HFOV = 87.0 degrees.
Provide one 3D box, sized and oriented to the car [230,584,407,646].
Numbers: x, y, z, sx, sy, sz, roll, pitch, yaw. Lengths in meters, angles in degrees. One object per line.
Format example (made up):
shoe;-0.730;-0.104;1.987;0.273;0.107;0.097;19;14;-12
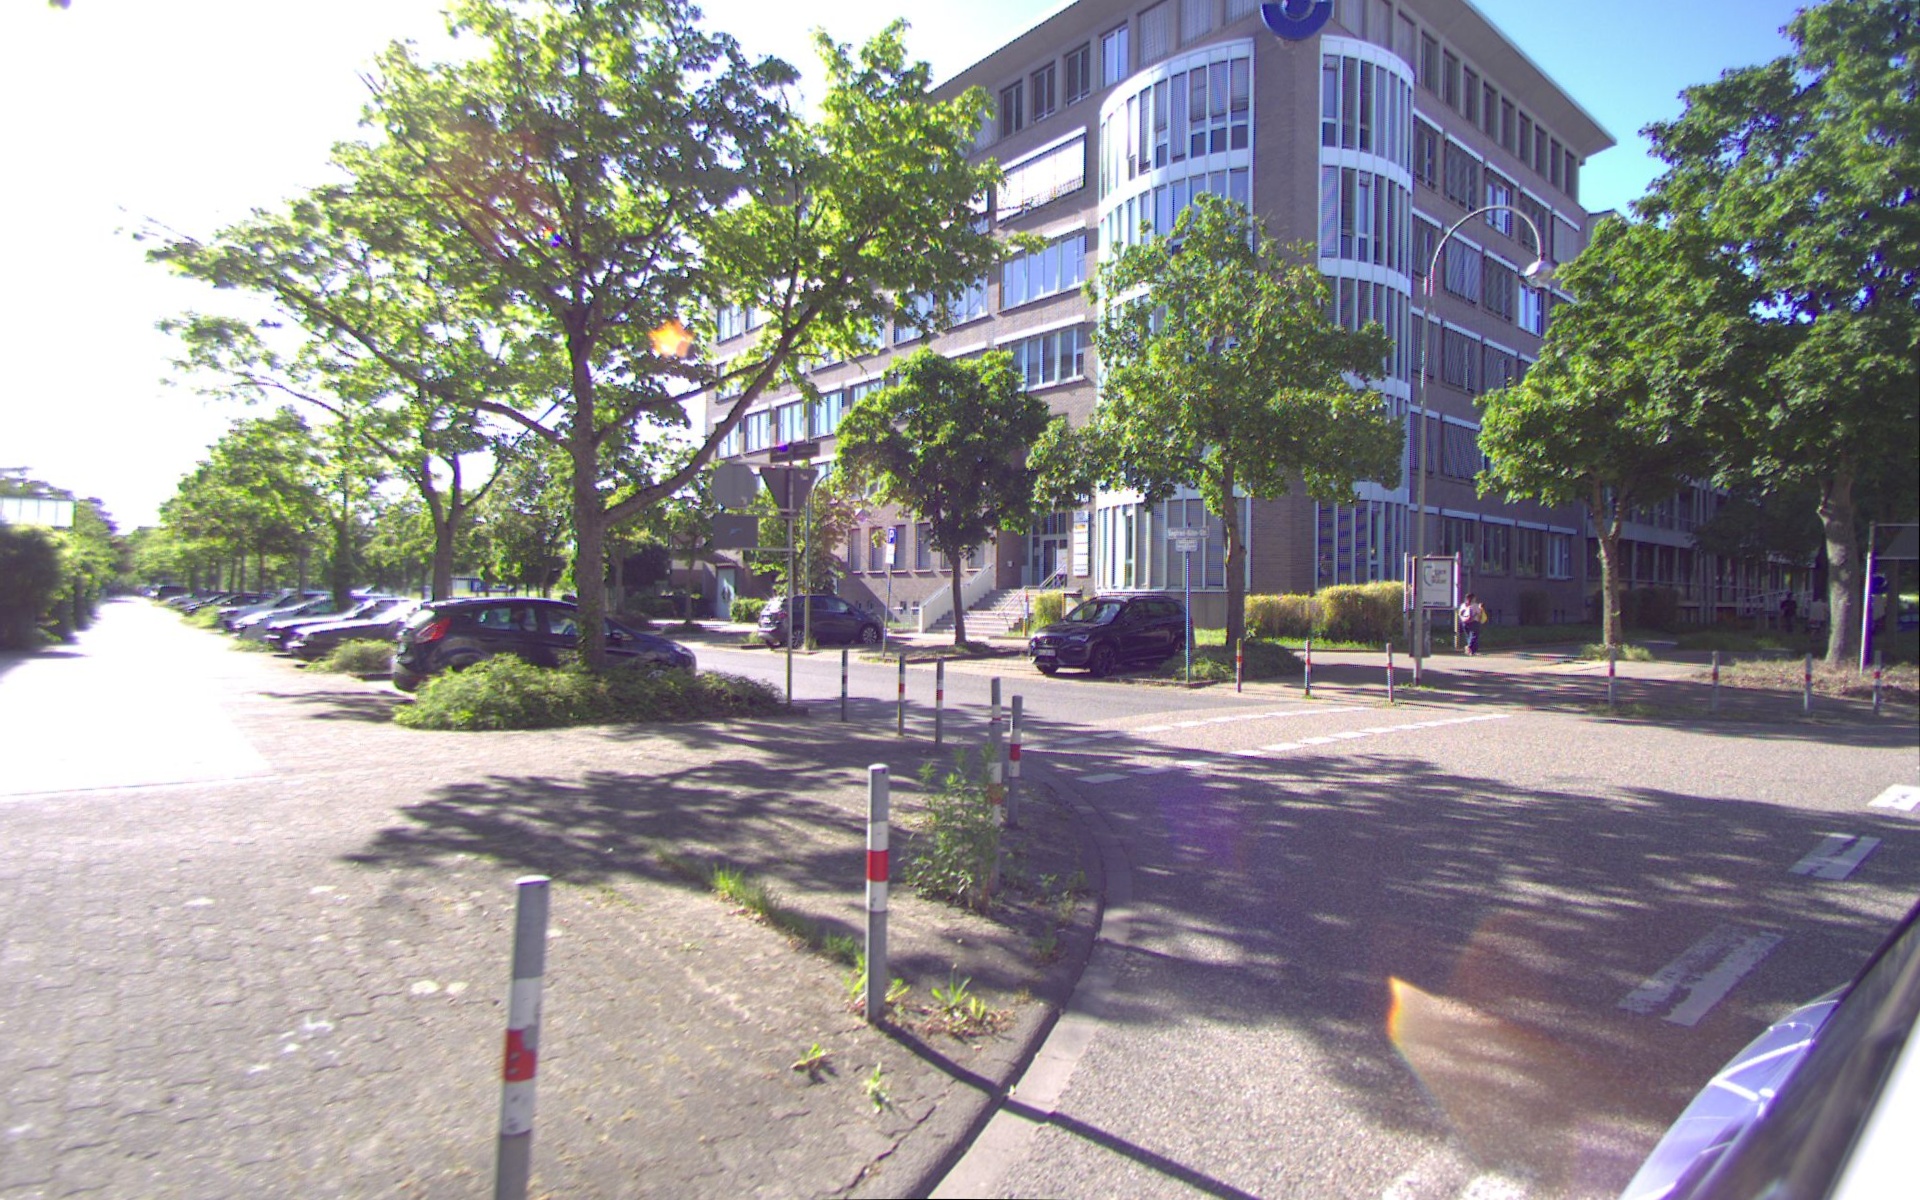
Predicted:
car;-17.790;0.445;28.163;3.929;1.584;1.625;3;-2;-41

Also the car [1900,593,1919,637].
car;38.560;0.660;38.397;1.633;1.609;4.129;-2;4;-44

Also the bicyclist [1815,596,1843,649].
bicyclist;27.834;0.704;32.402;0.808;1.657;0.538;1;0;-39

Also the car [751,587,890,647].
car;-4.331;0.484;31.635;3.925;1.604;1.704;-3;2;-35

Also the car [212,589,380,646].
car;-19.441;0.536;29.722;3.929;1.521;1.534;3;-2;-41

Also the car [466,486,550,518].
car;-24.116;-5.197;54.042;3.843;1.462;1.533;-1;2;-42

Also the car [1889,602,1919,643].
car;35.222;0.864;35.231;1.627;1.387;4.121;0;2;-43

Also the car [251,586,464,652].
car;-13.804;0.481;23.325;3.932;1.386;1.623;3;-3;-44

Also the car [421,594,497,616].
car;-30.321;0.290;61.302;3.844;1.332;1.533;0;0;-44

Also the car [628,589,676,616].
car;-17.829;0.095;58.546;1.507;1.462;3.909;-1;1;-35

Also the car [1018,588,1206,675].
car;3.365;0.608;21.865;4.294;1.585;1.739;-3;1;-44

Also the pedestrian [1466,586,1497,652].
pedestrian;12.923;0.464;25.080;0.537;1.602;0.639;0;-1;40

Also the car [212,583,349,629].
car;-23.760;0.197;35.462;3.840;1.521;1.534;0;0;-41

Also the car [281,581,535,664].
car;-10.794;0.394;19.926;4.193;1.479;1.694;0;0;-37

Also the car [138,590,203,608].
car;-60.839;-0.066;78.055;3.841;1.260;1.534;1;-1;-42

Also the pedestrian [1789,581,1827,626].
pedestrian;35.124;0.151;41.910;1.001;1.821;1.036;0;-1;-41

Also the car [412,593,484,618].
car;-32.764;0.312;64.848;3.845;1.462;1.533;-1;1;-44

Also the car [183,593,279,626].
car;-37.184;0.514;51.667;3.840;1.521;1.534;3;-2;-41

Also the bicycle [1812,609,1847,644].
bicycle;27.856;0.842;32.418;1.885;1.092;0.535;0;0;-40

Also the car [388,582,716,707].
car;-5.486;0.548;13.826;3.845;1.481;1.656;1;0;-38
